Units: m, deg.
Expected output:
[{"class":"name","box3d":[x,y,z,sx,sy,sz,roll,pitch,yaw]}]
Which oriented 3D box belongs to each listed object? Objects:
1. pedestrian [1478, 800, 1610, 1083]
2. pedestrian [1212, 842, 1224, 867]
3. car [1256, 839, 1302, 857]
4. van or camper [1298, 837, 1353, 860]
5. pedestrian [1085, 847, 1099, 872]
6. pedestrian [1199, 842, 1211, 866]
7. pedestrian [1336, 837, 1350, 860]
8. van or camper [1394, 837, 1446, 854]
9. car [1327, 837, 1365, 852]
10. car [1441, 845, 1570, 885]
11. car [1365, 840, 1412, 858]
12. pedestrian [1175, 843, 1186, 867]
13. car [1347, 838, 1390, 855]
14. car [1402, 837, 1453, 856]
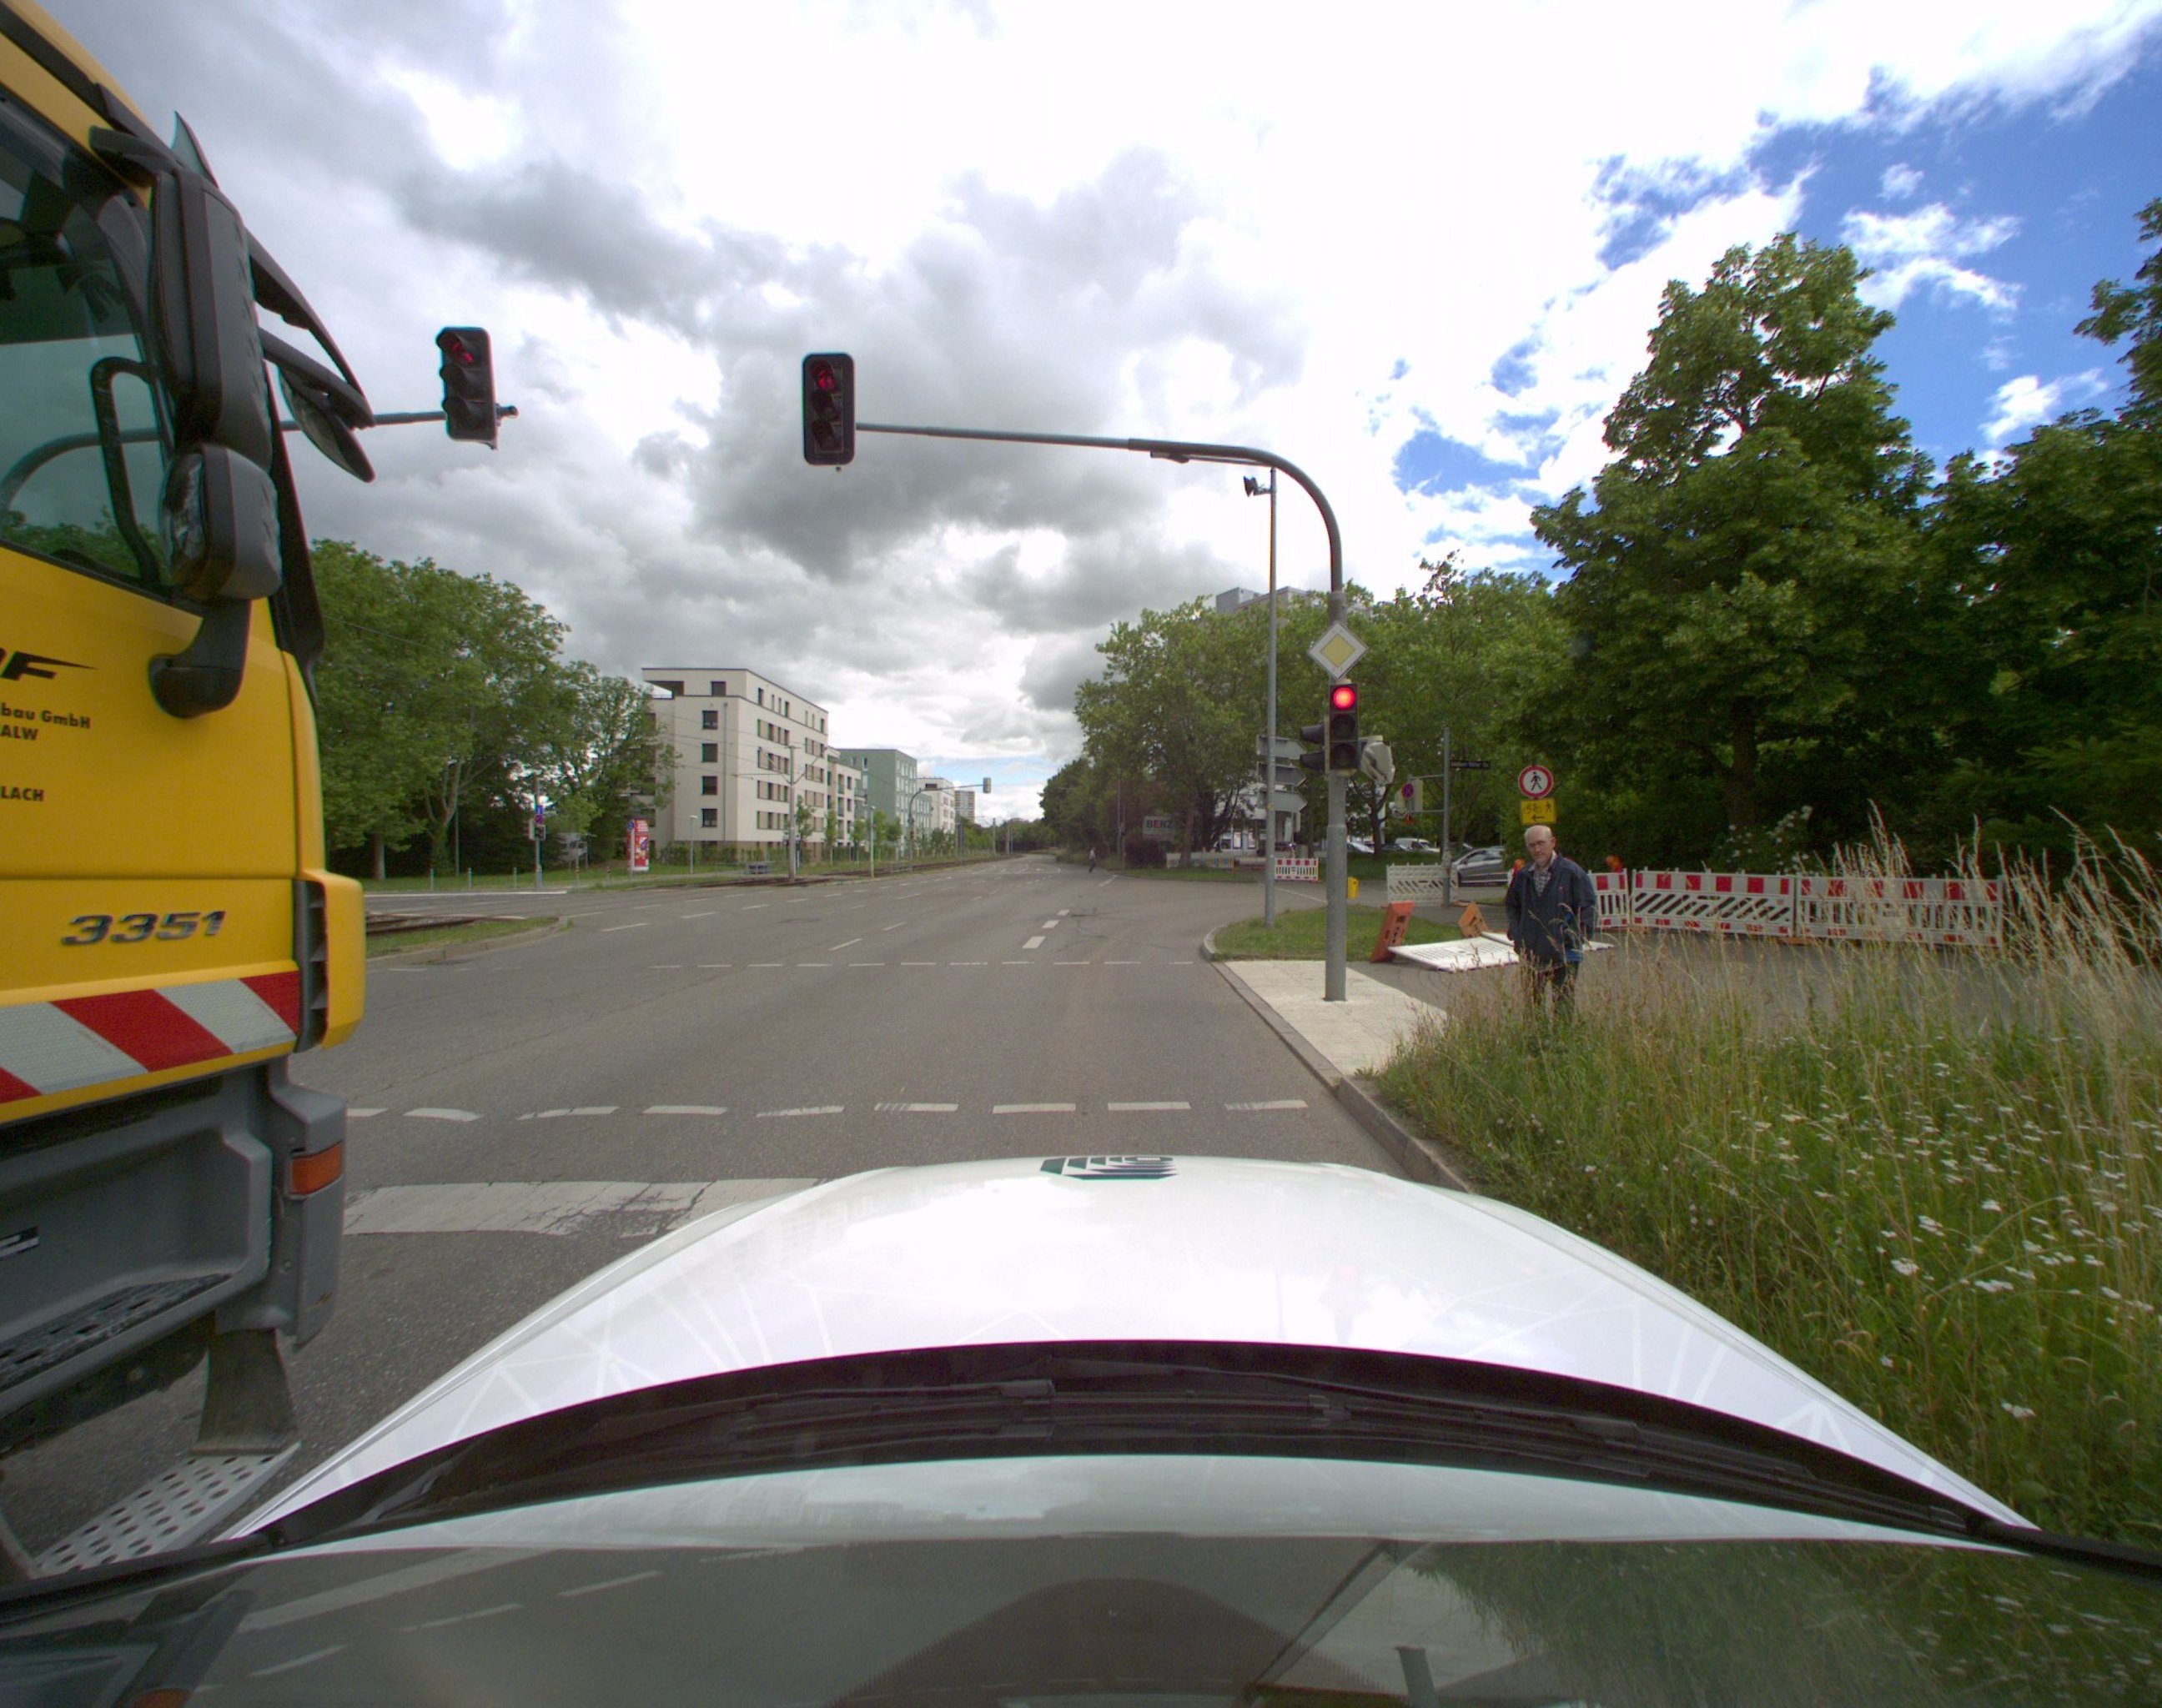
[{"class":"pedestrian","box3d":[3.189,0.533,5.599,0.719,1.740,0.962,-1,0,32]},{"class":"pedestrian","box3d":[8.298,0.014,49.165,0.693,1.489,0.722,-1,-1,10]},{"class":"car","box3d":[17.519,-0.499,72.282,1.736,1.500,4.234,0,-1,-24]},{"class":"van or camper","box3d":[18.477,-0.386,61.733,1.849,1.684,3.967,-1,0,-25]},{"class":"pedestrian","box3d":[0.715,0.359,52.309,0.845,1.586,0.797,0,-1,3]},{"class":"pedestrian","box3d":[7.569,0.005,49.601,0.692,1.489,0.690,-1,-1,12]},{"class":"pedestrian","box3d":[22.202,-0.458,69.032,0.803,2.002,0.852,0,-1,-5]},{"class":"van or camper","box3d":[27.483,-0.659,66.207,1.523,1.356,3.738,0,-1,-31]},{"class":"car","box3d":[25.312,-0.900,77.812,1.489,1.404,3.377,0,-1,-29]},{"class":"car","box3d":[17.319,0.443,33.364,4.379,1.586,1.774,0,-1,2]},{"class":"car","box3d":[24.318,-0.380,64.530,1.488,1.404,3.378,0,-1,-27]},{"class":"pedestrian","box3d":[6.344,0.056,51.864,0.650,1.539,0.773,0,-1,4]},{"class":"car","box3d":[28.023,-0.774,79.406,1.677,1.634,3.787,0,1,-28]},{"class":"car","box3d":[29.019,-0.604,68.350,1.489,1.465,3.856,0,-1,-29]}]
